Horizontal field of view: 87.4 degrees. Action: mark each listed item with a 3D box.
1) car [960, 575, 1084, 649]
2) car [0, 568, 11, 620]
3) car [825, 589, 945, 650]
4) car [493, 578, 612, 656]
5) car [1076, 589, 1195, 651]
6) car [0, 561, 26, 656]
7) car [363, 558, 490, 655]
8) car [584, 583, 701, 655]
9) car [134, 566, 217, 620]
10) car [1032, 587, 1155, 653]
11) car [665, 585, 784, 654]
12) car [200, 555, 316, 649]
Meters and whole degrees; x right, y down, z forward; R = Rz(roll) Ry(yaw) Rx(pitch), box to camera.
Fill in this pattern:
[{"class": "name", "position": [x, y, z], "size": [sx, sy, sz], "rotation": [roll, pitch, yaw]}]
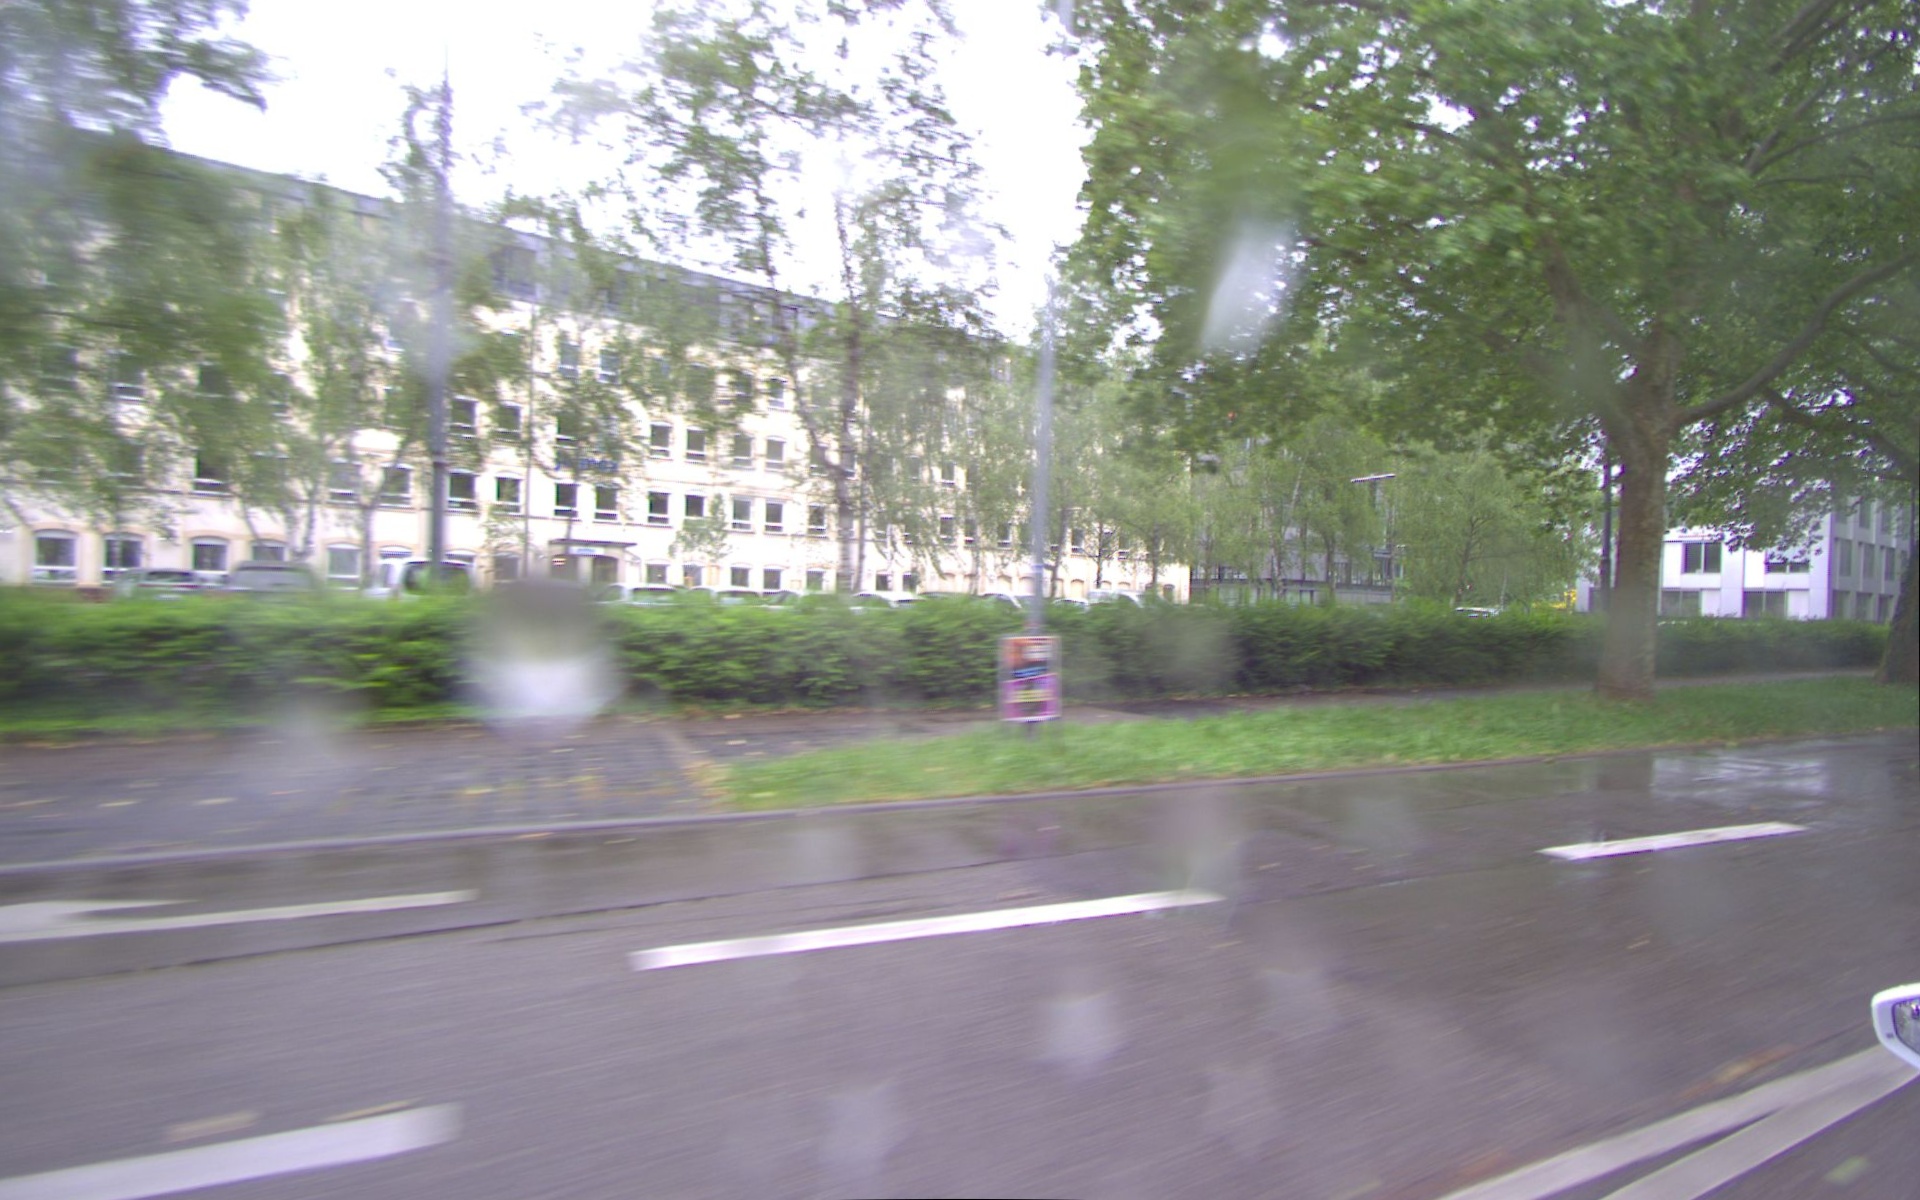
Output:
[{"class": "car", "position": [1.869, 0.374, 31.543], "size": [1.978, 2.161, 3.965], "rotation": [1, -1, -32]}, {"class": "car", "position": [-29.737, -0.194, 29.712], "size": [1.764, 1.572, 3.961], "rotation": [2, 0, -34]}, {"class": "car", "position": [-2.240, 0.529, 28.931], "size": [1.864, 1.571, 3.967], "rotation": [1, 0, -30]}, {"class": "car", "position": [-9.492, 0.337, 23.229], "size": [1.702, 1.620, 3.779], "rotation": [1, 1, -36]}, {"class": "car", "position": [6.081, 0.685, 35.149], "size": [1.978, 2.040, 3.965], "rotation": [1, -1, -32]}, {"class": "car", "position": [-17.978, 0.110, 17.547], "size": [1.981, 1.660, 3.958], "rotation": [1, 1, -37]}, {"class": "car", "position": [-11.463, 0.092, 21.471], "size": [1.837, 1.857, 3.958], "rotation": [1, 1, -36]}, {"class": "car", "position": [-8.025, 0.420, 25.176], "size": [1.834, 1.620, 3.964], "rotation": [1, 1, -33]}, {"class": "car", "position": [-24.949, -0.221, 32.056], "size": [1.632, 1.574, 3.965], "rotation": [1, 0, -32]}, {"class": "car", "position": [4.345, 0.641, 33.264], "size": [1.978, 2.040, 3.965], "rotation": [1, -1, -32]}, {"class": "car", "position": [-6.274, 0.454, 26.439], "size": [1.834, 1.620, 3.964], "rotation": [1, 1, -33]}, {"class": "car", "position": [-13.824, 0.005, 19.945], "size": [1.690, 1.660, 3.964], "rotation": [1, 1, -33]}]
